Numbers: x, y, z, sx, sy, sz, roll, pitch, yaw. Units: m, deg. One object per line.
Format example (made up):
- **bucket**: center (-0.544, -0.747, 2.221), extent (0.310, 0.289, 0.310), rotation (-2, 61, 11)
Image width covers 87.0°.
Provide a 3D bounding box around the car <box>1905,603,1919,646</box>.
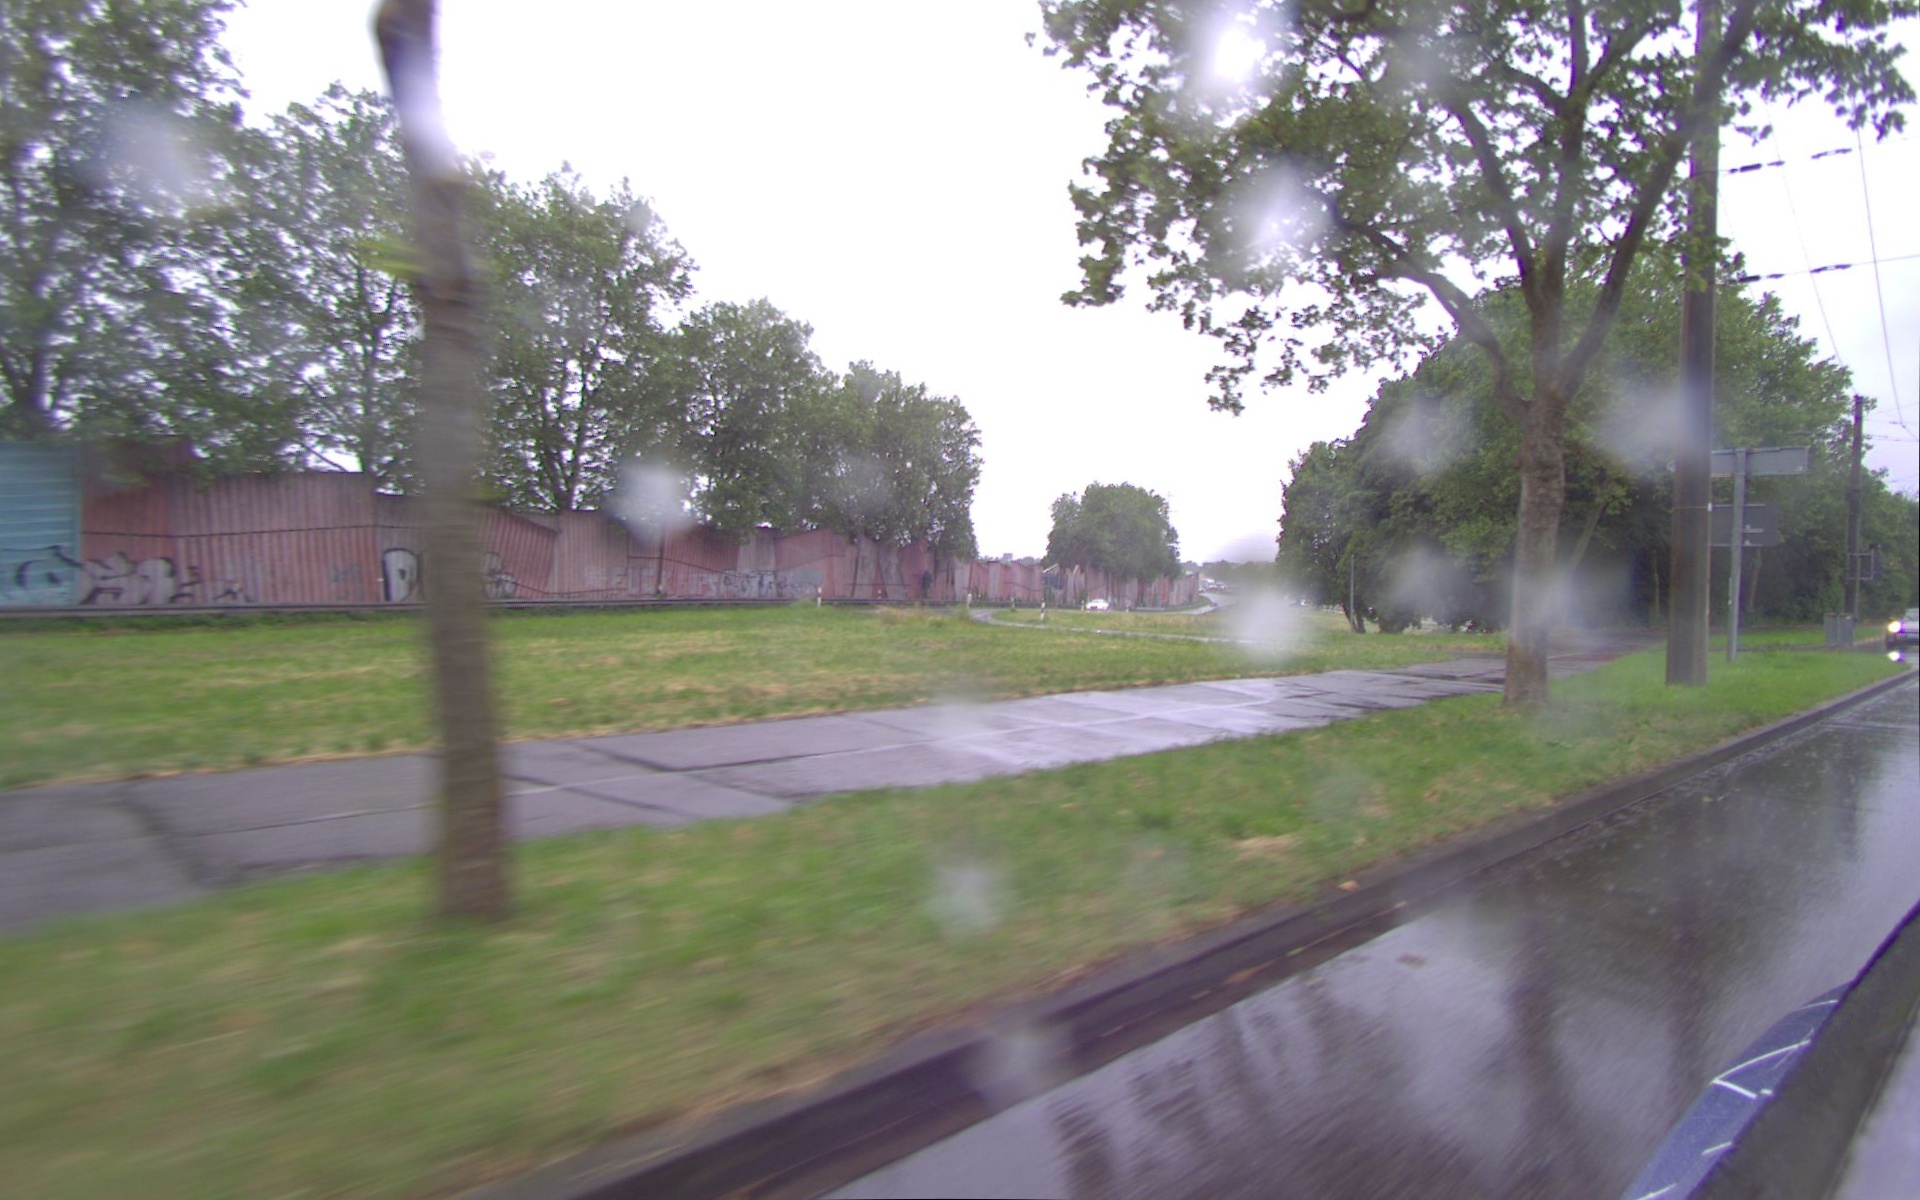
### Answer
- **car**: center (35.411, 0.893, 36.362), extent (3.932, 1.437, 1.749), rotation (0, 3, -42)
